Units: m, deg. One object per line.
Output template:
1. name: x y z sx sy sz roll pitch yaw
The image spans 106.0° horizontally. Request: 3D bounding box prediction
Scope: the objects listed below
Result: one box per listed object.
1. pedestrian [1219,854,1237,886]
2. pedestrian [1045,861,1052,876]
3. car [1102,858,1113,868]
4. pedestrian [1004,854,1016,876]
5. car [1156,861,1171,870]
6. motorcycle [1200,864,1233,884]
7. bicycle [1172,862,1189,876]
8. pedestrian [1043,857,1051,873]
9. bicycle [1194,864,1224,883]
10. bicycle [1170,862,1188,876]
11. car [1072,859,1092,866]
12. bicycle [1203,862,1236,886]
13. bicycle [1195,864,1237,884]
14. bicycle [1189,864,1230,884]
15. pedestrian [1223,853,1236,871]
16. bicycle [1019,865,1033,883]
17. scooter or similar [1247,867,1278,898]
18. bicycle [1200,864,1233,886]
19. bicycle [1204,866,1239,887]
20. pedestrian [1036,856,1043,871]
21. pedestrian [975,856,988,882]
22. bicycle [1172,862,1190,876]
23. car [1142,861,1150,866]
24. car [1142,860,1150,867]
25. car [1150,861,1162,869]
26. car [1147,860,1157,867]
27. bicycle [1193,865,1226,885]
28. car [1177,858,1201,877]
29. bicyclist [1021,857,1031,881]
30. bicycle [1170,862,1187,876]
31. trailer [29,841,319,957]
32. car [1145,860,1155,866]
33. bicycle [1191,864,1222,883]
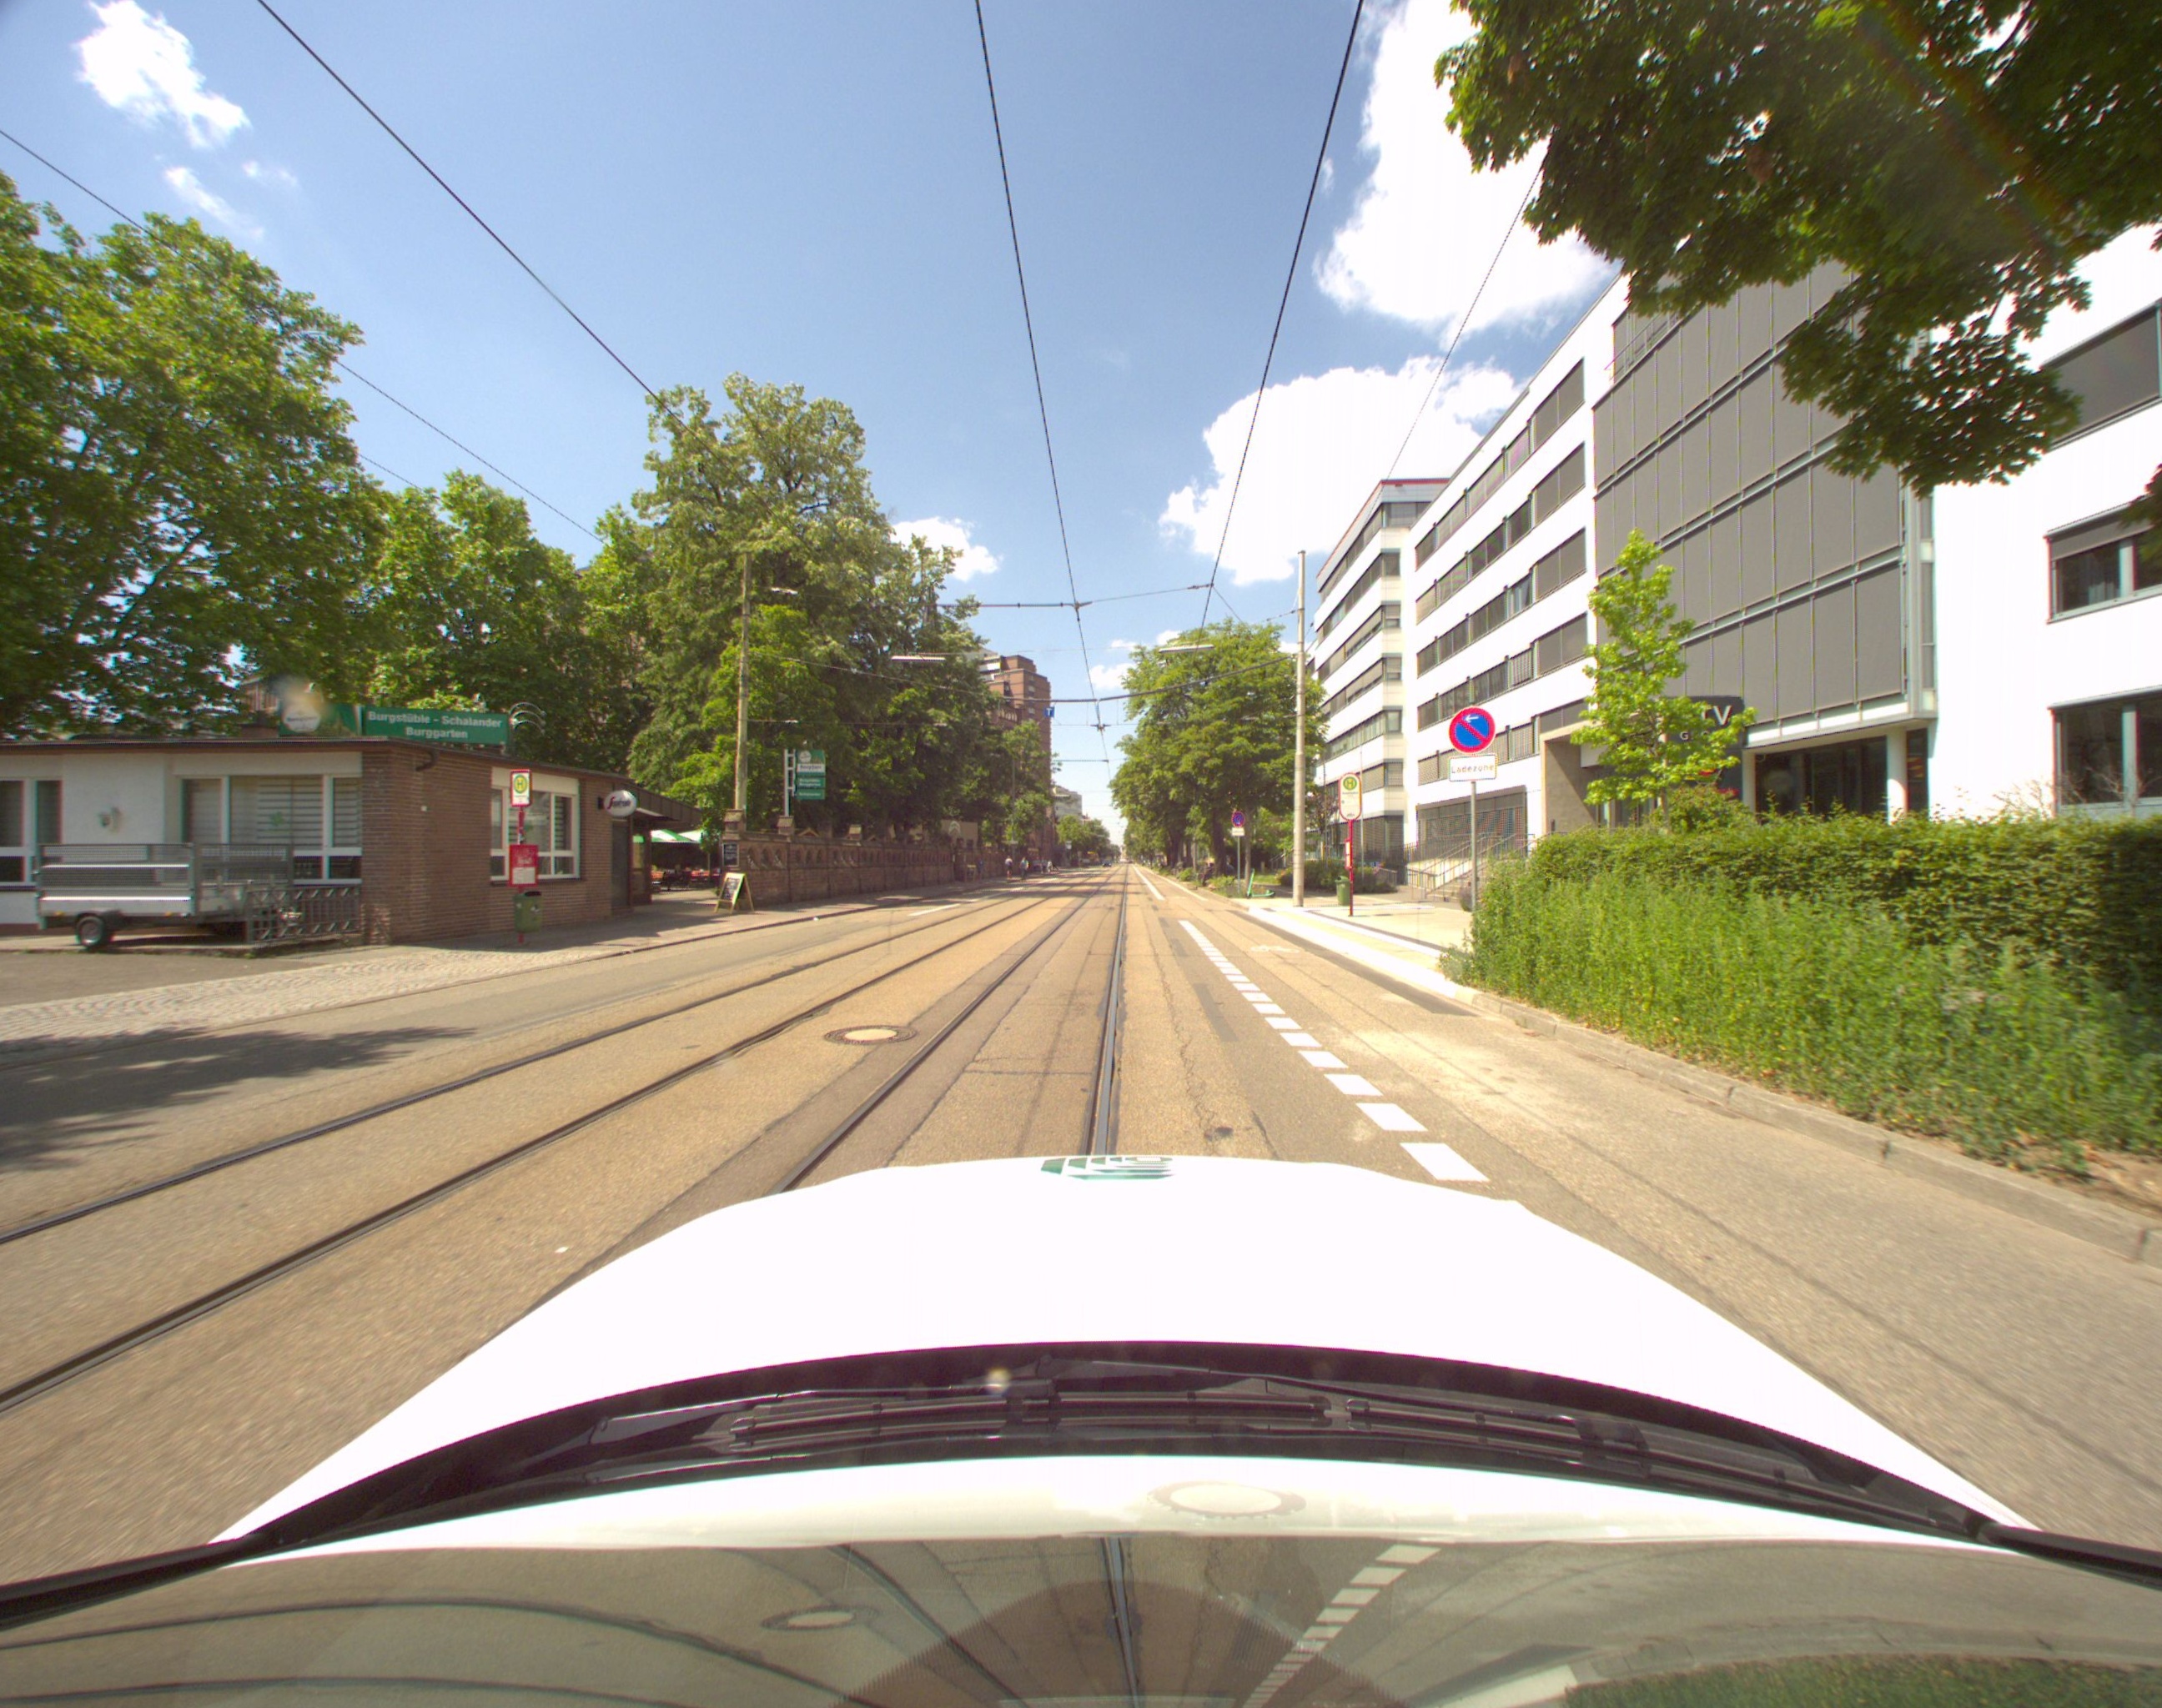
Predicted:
1. pedestrian: 7.932 0.881 44.043 0.802 1.715 0.577 0 -1 -44
2. pedestrian: -3.736 1.685 94.492 0.740 1.728 0.868 0 -1 2
3. car: 5.693 1.883 175.814 1.984 2.014 4.006 0 0 6
4. pedestrian: -5.719 0.899 65.536 0.811 1.770 0.925 0 -1 3
5. car: 11.823 1.654 116.402 1.985 1.310 4.003 -1 0 3
6. motorcycle: 7.725 1.158 46.496 1.816 1.110 0.599 -1 -1 3
7. bicycle: 9.001 1.365 73.569 1.557 1.241 0.437 -1 -1 4
8. pedestrian: -3.853 1.239 92.316 0.740 1.728 0.868 0 -1 3
9. bicycle: 7.606 1.152 48.461 1.746 1.166 0.530 0 -1 0
10. bicycle: 8.920 1.366 74.158 1.557 1.241 0.437 -1 -1 4
11. car: 0.234 2.192 207.451 4.751 1.717 1.984 0 -1 -25
12. bicycle: 7.542 1.096 44.380 1.746 1.271 0.530 0 -1 0
13. bicycle: 8.124 1.204 49.071 2.497 1.209 0.649 -1 -1 7
14. bicycle: 8.092 1.266 51.298 2.497 1.209 0.743 -1 -1 7
15. pedestrian: 15.050 0.778 82.602 1.211 1.827 0.831 0 -1 -1
16. bicycle: -3.970 1.417 58.679 0.698 1.204 2.242 -2 -1 3
17. scooter or similar: 6.923 1.095 31.077 1.054 1.156 0.371 -2 -1 3
18. bicycle: 7.490 1.161 44.950 1.746 1.166 0.530 0 -1 0
19. bicycle: 7.439 1.190 43.206 1.782 1.102 0.532 0 -1 1
20. pedestrian: -4.761 1.047 93.514 0.740 1.728 0.868 0 -1 3
21. pedestrian: -6.632 0.973 54.476 0.740 1.728 0.868 0 -1 3
22. bicycle: 9.001 1.370 73.065 1.557 1.241 0.437 -1 -1 4
23. car: 17.013 2.560 212.138 1.985 1.310 4.003 -1 0 3
24. car: 17.684 2.603 221.806 1.985 1.904 4.003 -1 -1 3
25. car: 12.651 1.807 137.639 1.985 1.310 4.003 -1 0 3
26. car: 14.695 1.938 168.295 1.985 1.310 4.003 -1 0 3
27. bicycle: 7.858 1.288 49.839 1.986 1.209 0.663 -1 -1 7
28. car: 8.877 1.103 67.162 1.627 1.501 4.003 -1 -1 3
29. bicyclist: -3.980 1.077 58.794 0.639 1.679 0.815 -1 -1 3
30. bicycle: 8.947 1.368 74.686 1.557 1.241 0.437 -1 -1 4
31. trailer: -14.152 0.666 12.829 2.817 1.704 1.623 0 0 4
32. car: 15.375 1.965 181.781 1.985 1.310 4.003 -1 0 3
33. bicycle: 7.397 1.145 47.968 1.746 1.166 0.530 0 -1 0
